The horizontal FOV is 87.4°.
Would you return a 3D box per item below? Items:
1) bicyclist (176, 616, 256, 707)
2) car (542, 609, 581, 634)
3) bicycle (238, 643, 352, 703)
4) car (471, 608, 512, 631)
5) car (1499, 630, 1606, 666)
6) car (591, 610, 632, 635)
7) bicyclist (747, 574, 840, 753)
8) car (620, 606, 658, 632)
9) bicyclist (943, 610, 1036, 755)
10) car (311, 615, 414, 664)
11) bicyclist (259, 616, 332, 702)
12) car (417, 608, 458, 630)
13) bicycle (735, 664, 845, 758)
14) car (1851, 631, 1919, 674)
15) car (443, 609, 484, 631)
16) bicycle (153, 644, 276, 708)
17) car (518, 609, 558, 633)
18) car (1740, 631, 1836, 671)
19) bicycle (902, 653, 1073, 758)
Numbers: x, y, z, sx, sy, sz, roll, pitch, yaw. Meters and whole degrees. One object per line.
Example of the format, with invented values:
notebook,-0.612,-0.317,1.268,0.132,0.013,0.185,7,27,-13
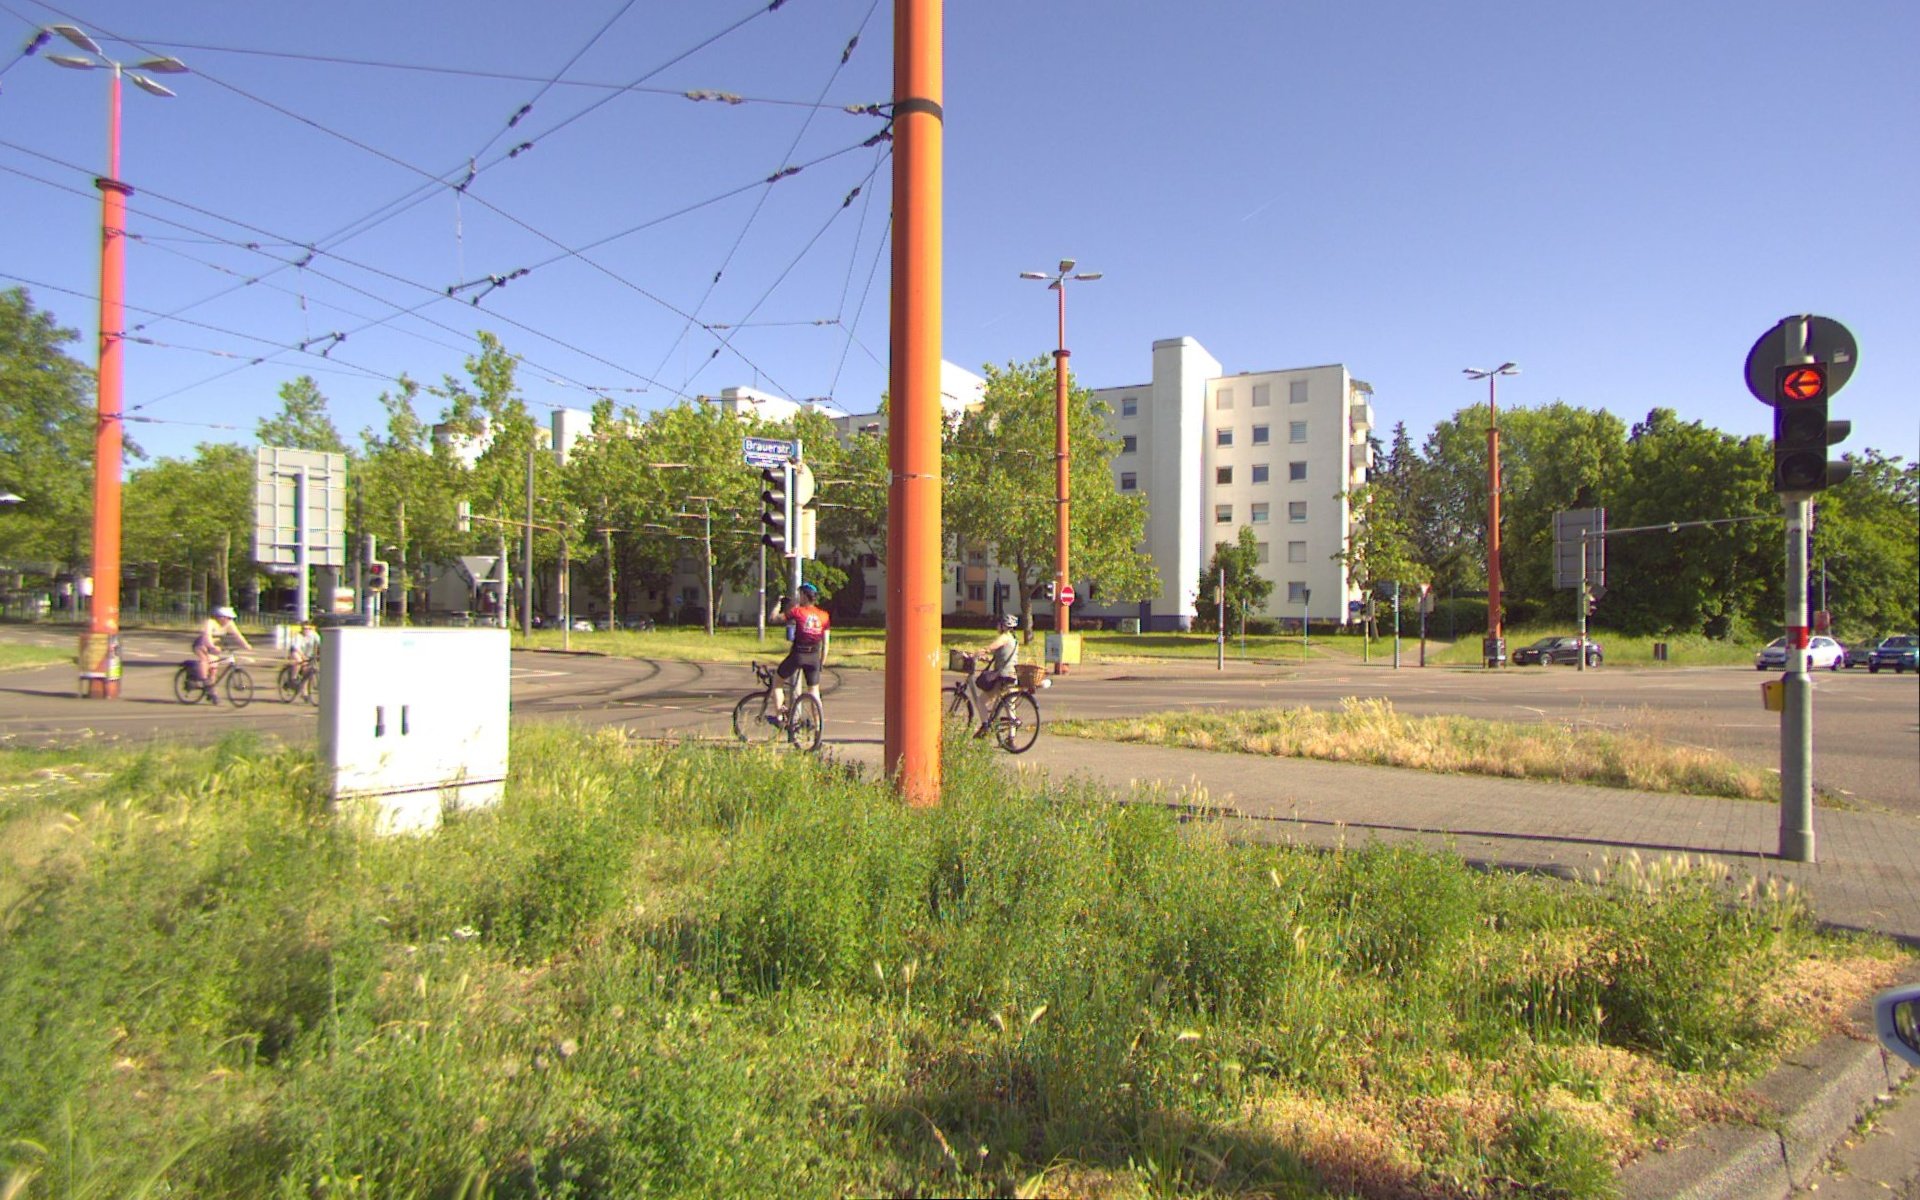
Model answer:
bicyclist,-13.996,1.130,18.904,0.726,1.659,0.934,0,-1,18
car,-31.184,1.670,78.686,1.963,1.840,3.995,1,-1,-8
bicycle,-13.217,1.439,19.978,1.849,1.102,0.928,0,-1,18
car,-39.275,1.635,84.334,1.963,1.840,3.995,1,-1,-8
car,28.087,2.255,47.686,4.148,1.619,1.995,1,-1,-13
car,-26.101,1.681,75.337,1.962,1.840,3.997,1,-1,-5
bicyclist,-2.000,0.743,12.012,0.921,2.040,0.736,1,-1,-25
car,-23.395,1.394,73.425,1.963,1.840,3.995,1,-1,-8
bicyclist,0.365,0.954,12.104,0.728,1.659,0.931,0,-1,35
car,-21.010,1.353,35.282,3.848,1.615,1.935,0,-2,39
bicyclist,-13.206,1.158,19.975,0.726,1.659,0.934,0,-1,18
car,-46.013,1.669,88.485,1.963,1.840,3.995,1,-1,-8
bicycle,-2.109,1.304,12.242,0.915,0.976,1.747,1,-1,-24
car,37.275,2.036,39.870,4.079,1.594,1.981,2,-1,-35
car,-42.664,1.693,86.456,1.963,1.840,3.995,1,-1,-8
bicycle,-14.023,1.408,18.903,1.849,1.102,0.928,0,-1,18
car,-33.800,1.665,80.536,1.963,1.840,3.995,1,-1,-8
car,35.151,2.149,42.611,4.075,1.594,1.983,1,-1,-32
bicycle,0.320,1.224,12.127,1.855,1.102,0.925,0,-1,34
